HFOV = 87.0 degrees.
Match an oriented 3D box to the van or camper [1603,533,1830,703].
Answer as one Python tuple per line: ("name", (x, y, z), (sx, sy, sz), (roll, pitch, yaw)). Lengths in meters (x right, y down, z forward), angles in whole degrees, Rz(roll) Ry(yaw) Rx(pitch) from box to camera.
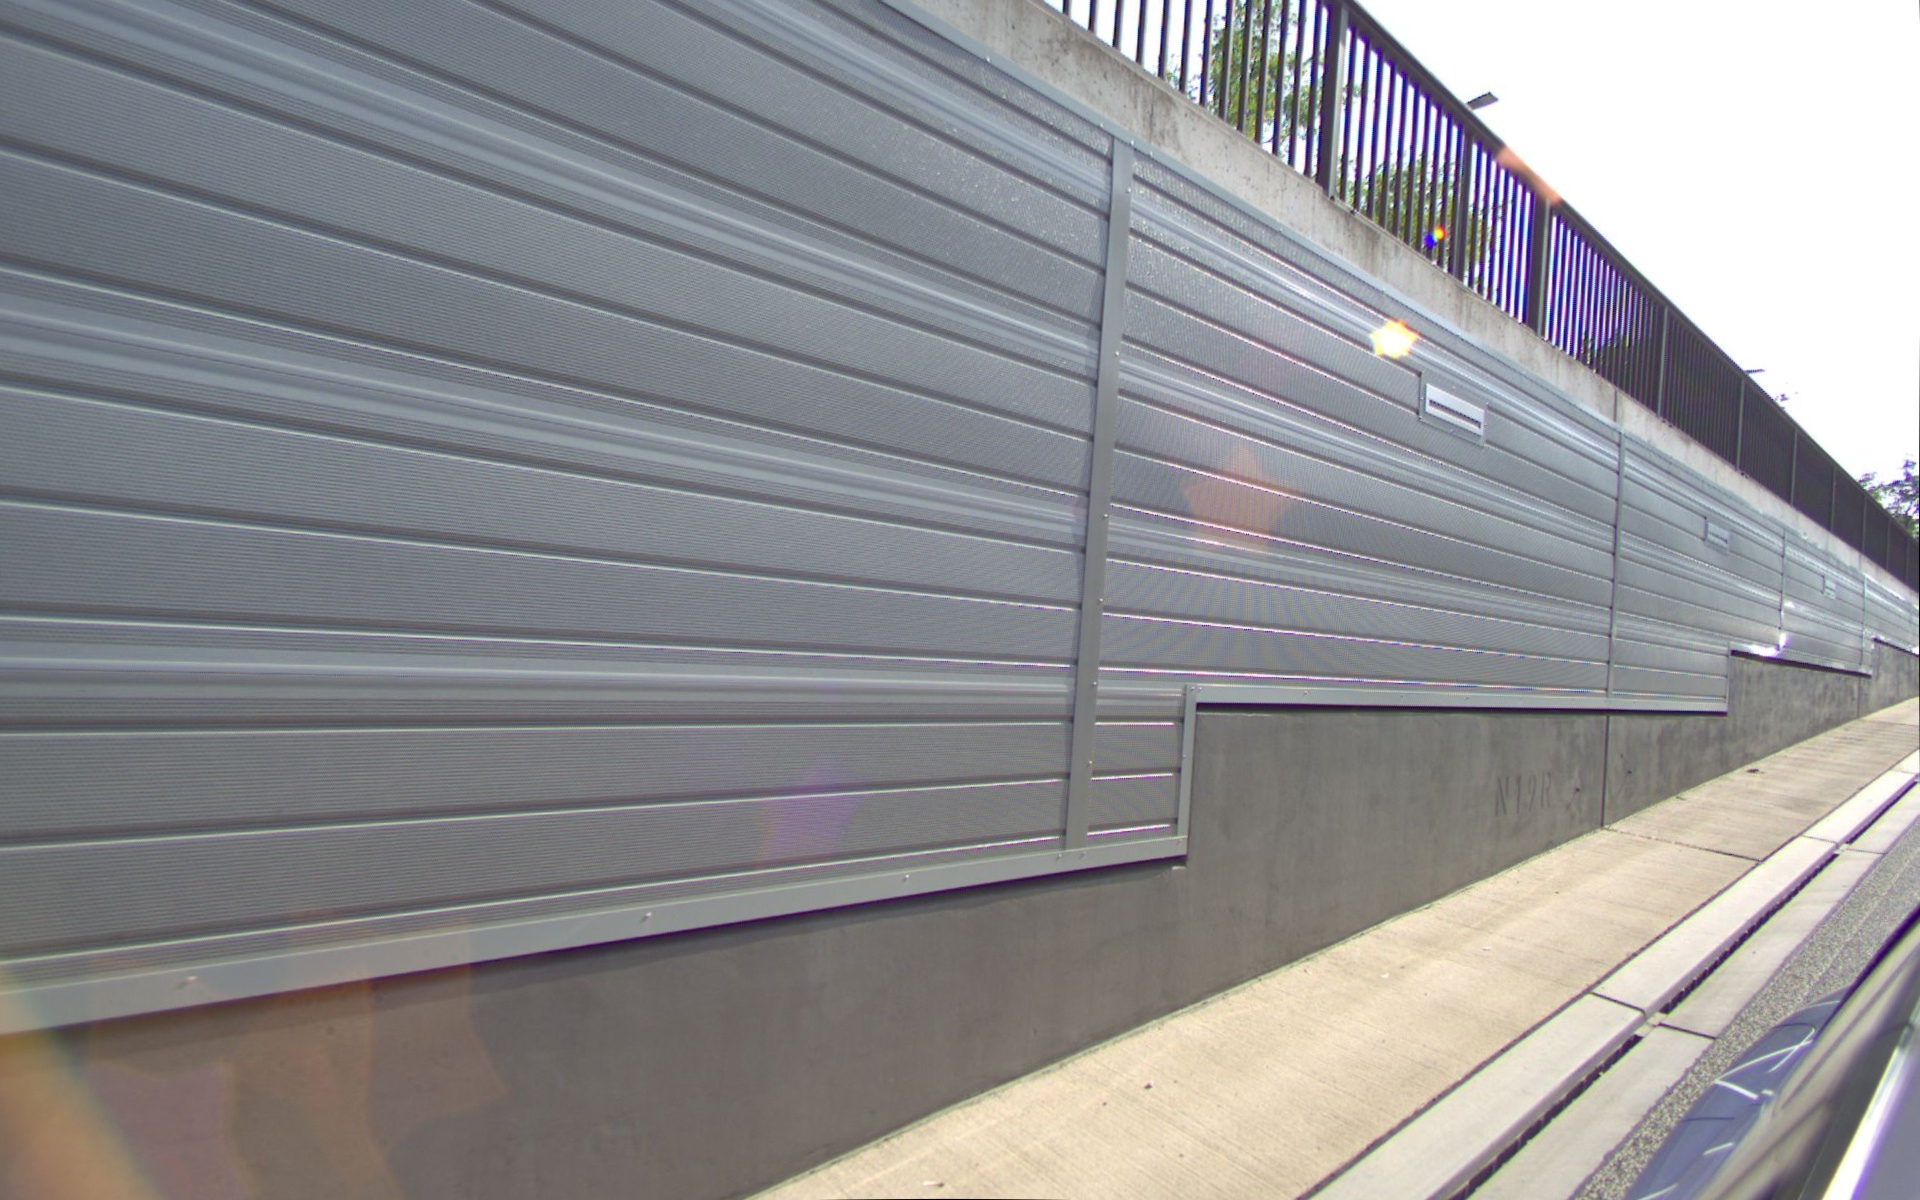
("van or camper", (13.353, 0.454, 17.676), (5.954, 2.504, 1.989), (5, -4, -41))

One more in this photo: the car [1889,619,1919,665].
("car", (37.932, 1.700, 39.491), (4.172, 1.591, 1.896), (5, -3, -39))
